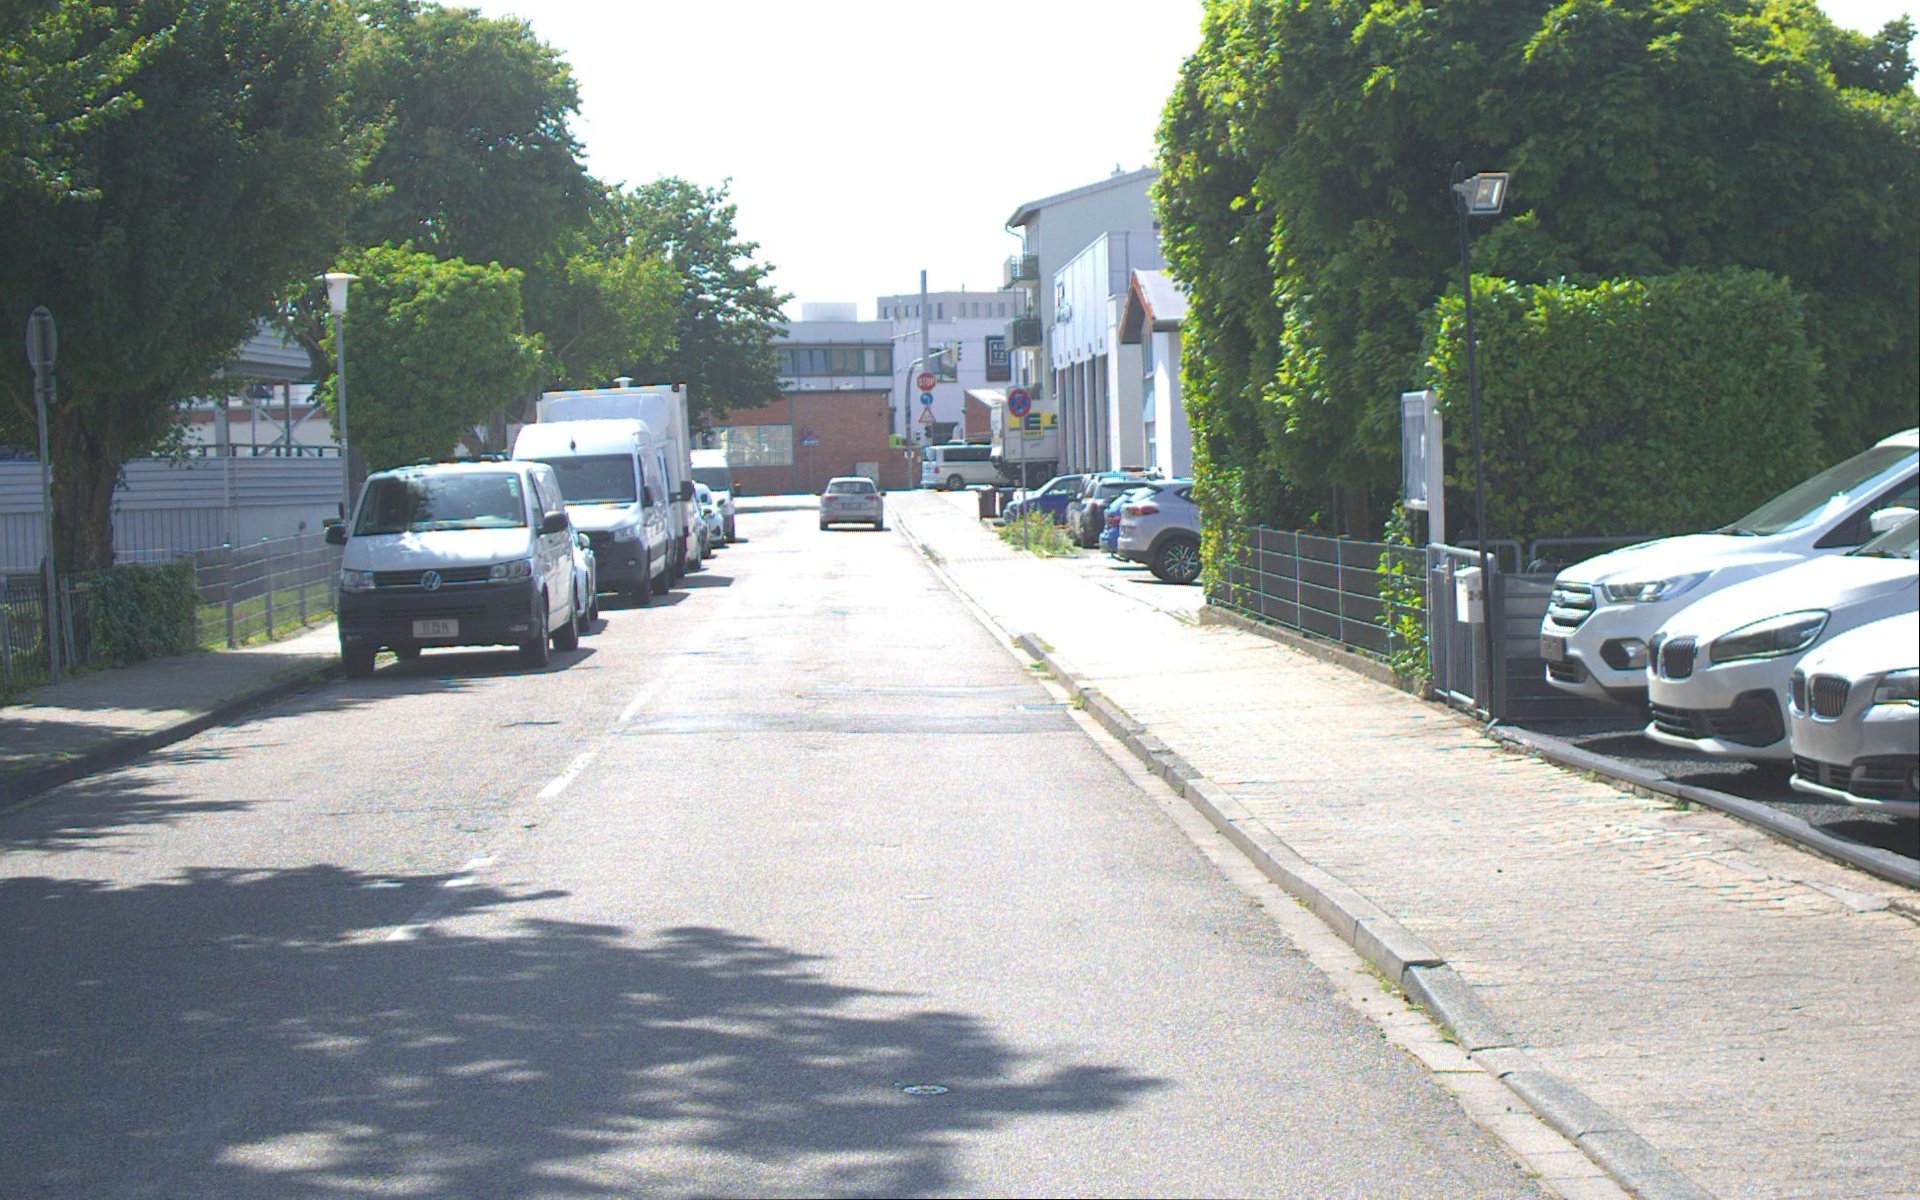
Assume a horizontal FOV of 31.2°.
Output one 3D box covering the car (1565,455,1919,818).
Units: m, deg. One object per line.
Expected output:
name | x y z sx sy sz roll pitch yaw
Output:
car | 5.309 0.032 16.190 4.402 1.522 1.898 -4 1 -7

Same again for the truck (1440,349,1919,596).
truck | 11.146 -1.880 51.174 7.517 3.411 2.527 1 2 -1

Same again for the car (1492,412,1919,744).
car | 5.279 -0.182 18.622 4.402 1.648 1.844 -2 2 -4

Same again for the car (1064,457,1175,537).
car | 3.340 -2.207 72.825 1.858 1.562 4.952 -2 3 -2

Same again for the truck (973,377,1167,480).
truck | 4.502 -7.044 141.516 7.357 3.632 2.769 -5 3 -7

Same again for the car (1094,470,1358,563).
car | 4.604 -1.470 59.875 4.352 1.436 1.892 -2 2 -2

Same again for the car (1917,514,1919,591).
car | 5.097 0.317 11.025 3.549 1.330 1.559 -2 1 -3

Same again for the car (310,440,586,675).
car | -4.894 -0.466 33.566 1.971 2.006 5.057 -3 2 -2

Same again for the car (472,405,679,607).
car | -5.435 -1.366 49.529 2.168 2.587 6.921 -3 2 -1

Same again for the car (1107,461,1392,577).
car | 4.491 -1.272 53.746 4.200 1.676 1.767 1 2 -2

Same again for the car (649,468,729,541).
car | -6.592 -2.328 83.230 1.704 1.618 3.975 -3 2 -6

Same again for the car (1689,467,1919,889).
car | 5.348 0.130 13.514 4.402 1.492 1.898 -4 1 -7

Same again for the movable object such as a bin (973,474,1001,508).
movable object such as a bin | 0.767 -3.100 97.921 0.568 0.943 0.556 -1 3 32

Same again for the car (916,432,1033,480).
car | 0.638 -6.284 149.868 4.653 1.951 1.917 -3 3 -20

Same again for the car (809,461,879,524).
car | -3.323 -3.071 98.297 1.890 1.679 3.958 -2 2 -2

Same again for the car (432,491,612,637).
car | -5.135 -0.466 40.742 1.714 1.538 4.402 -3 2 -3

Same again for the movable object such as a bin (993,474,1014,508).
movable object such as a bin | 1.248 -3.107 98.345 0.514 0.943 0.487 -2 3 10

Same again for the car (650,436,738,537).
car | -6.804 -2.952 88.383 2.005 2.358 5.231 -4 3 -4

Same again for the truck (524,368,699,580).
truck | -5.965 -2.159 59.520 2.685 3.354 7.132 -2 2 -5

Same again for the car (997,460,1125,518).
car | 2.640 -2.915 90.367 3.253 1.394 1.673 -2 3 -1

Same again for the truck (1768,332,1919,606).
truck | 15.553 -1.863 47.006 8.276 3.598 2.953 -1 2 1
